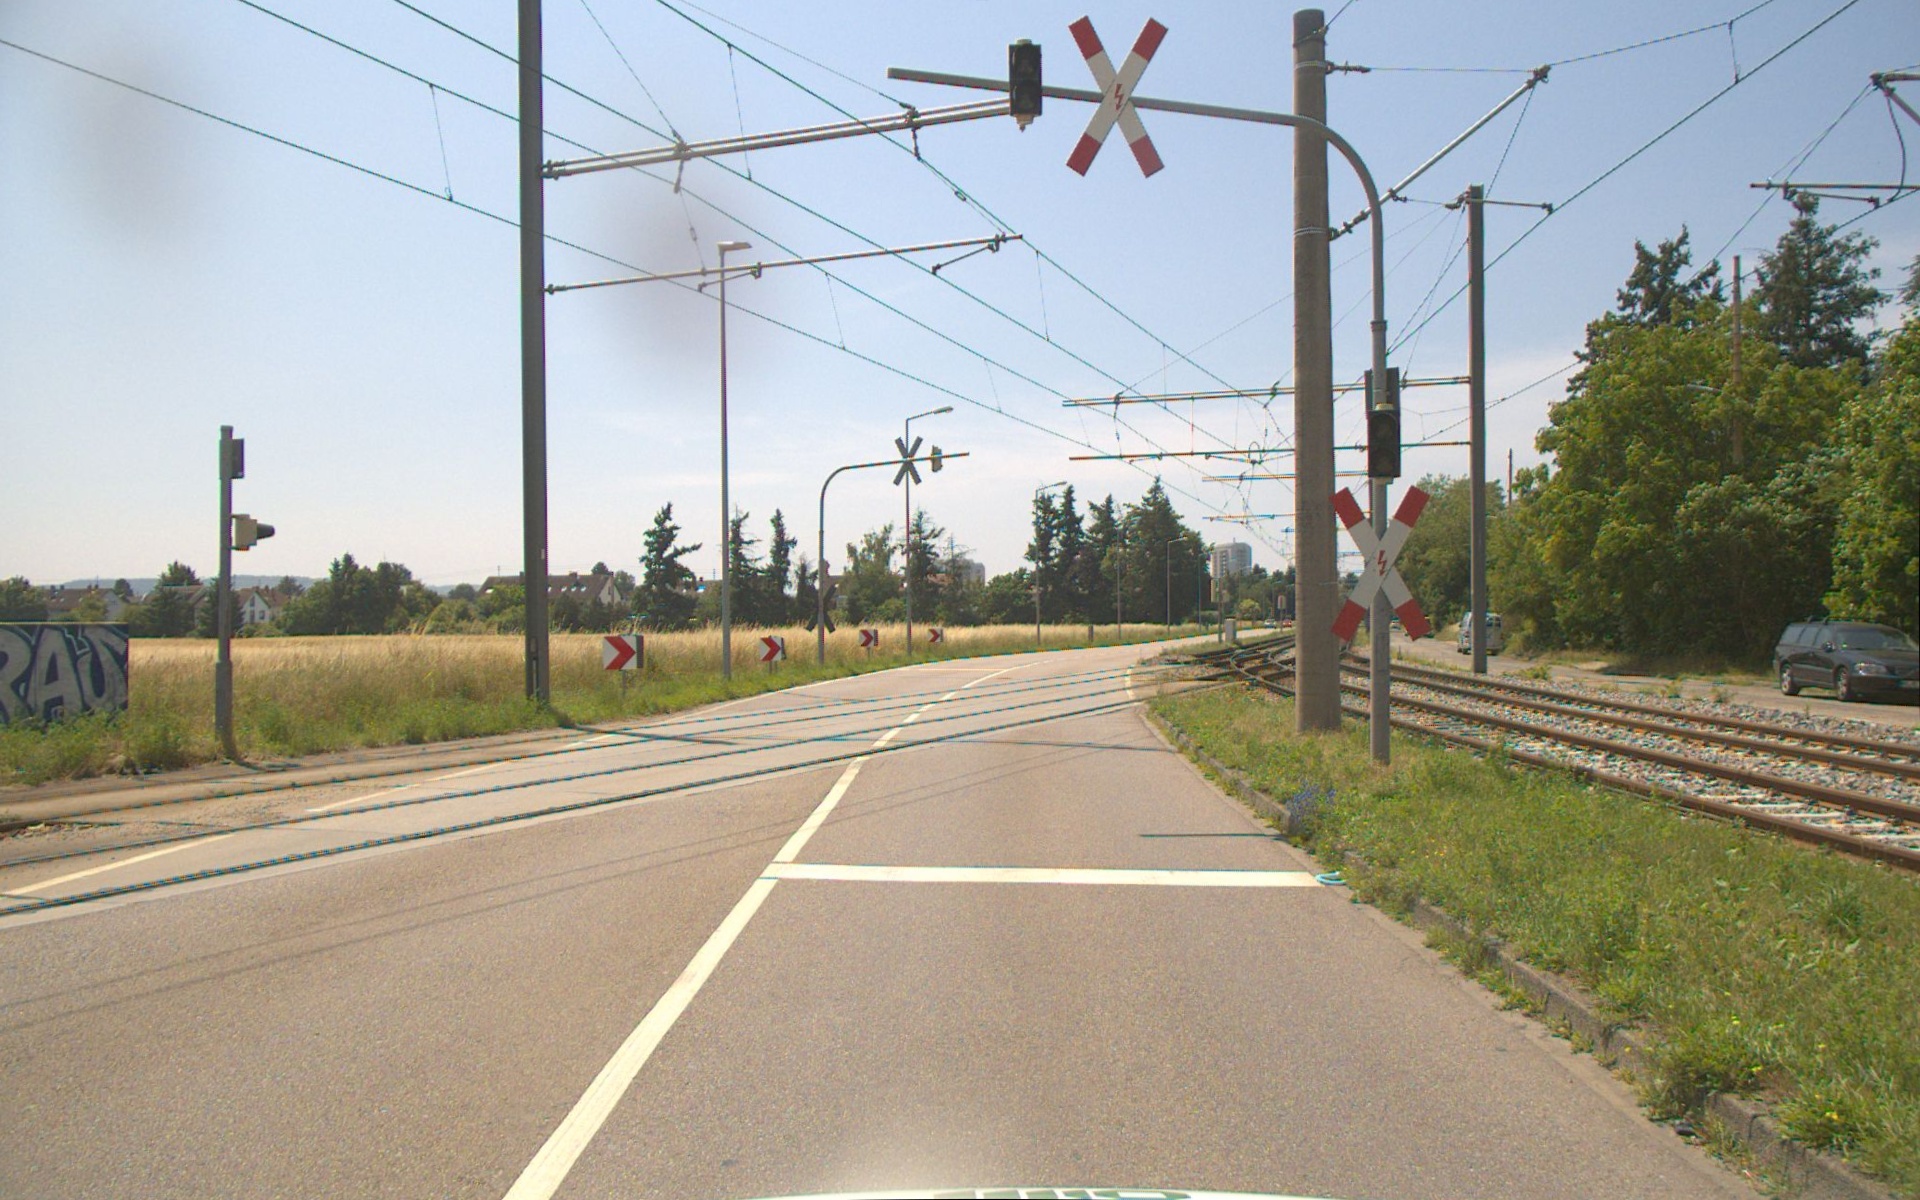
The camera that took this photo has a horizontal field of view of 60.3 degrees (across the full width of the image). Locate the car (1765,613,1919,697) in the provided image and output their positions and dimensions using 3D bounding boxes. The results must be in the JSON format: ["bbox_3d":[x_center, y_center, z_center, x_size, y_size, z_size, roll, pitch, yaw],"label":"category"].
[{"bbox_3d":[16.967,1.014,31.076,1.758,1.451,4.743,-1,-2,6],"label":"car"}]

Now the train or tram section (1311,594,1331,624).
[{"bbox_3d":[49.383,1.256,226.319,2.377,3.832,11.567,-1,-2,13],"label":"train or tram section"}]

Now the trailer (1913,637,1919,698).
[{"bbox_3d":[16.392,1.141,25.534,1.389,1.012,4.003,2,0,6],"label":"trailer"}]

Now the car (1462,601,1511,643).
[{"bbox_3d":[25.254,1.104,79.479,1.993,1.915,5.071,-1,-2,16],"label":"car"}]

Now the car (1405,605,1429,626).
[{"bbox_3d":[42.848,1.453,155.099,1.951,1.834,4.797,-1,-2,13],"label":"car"}]
